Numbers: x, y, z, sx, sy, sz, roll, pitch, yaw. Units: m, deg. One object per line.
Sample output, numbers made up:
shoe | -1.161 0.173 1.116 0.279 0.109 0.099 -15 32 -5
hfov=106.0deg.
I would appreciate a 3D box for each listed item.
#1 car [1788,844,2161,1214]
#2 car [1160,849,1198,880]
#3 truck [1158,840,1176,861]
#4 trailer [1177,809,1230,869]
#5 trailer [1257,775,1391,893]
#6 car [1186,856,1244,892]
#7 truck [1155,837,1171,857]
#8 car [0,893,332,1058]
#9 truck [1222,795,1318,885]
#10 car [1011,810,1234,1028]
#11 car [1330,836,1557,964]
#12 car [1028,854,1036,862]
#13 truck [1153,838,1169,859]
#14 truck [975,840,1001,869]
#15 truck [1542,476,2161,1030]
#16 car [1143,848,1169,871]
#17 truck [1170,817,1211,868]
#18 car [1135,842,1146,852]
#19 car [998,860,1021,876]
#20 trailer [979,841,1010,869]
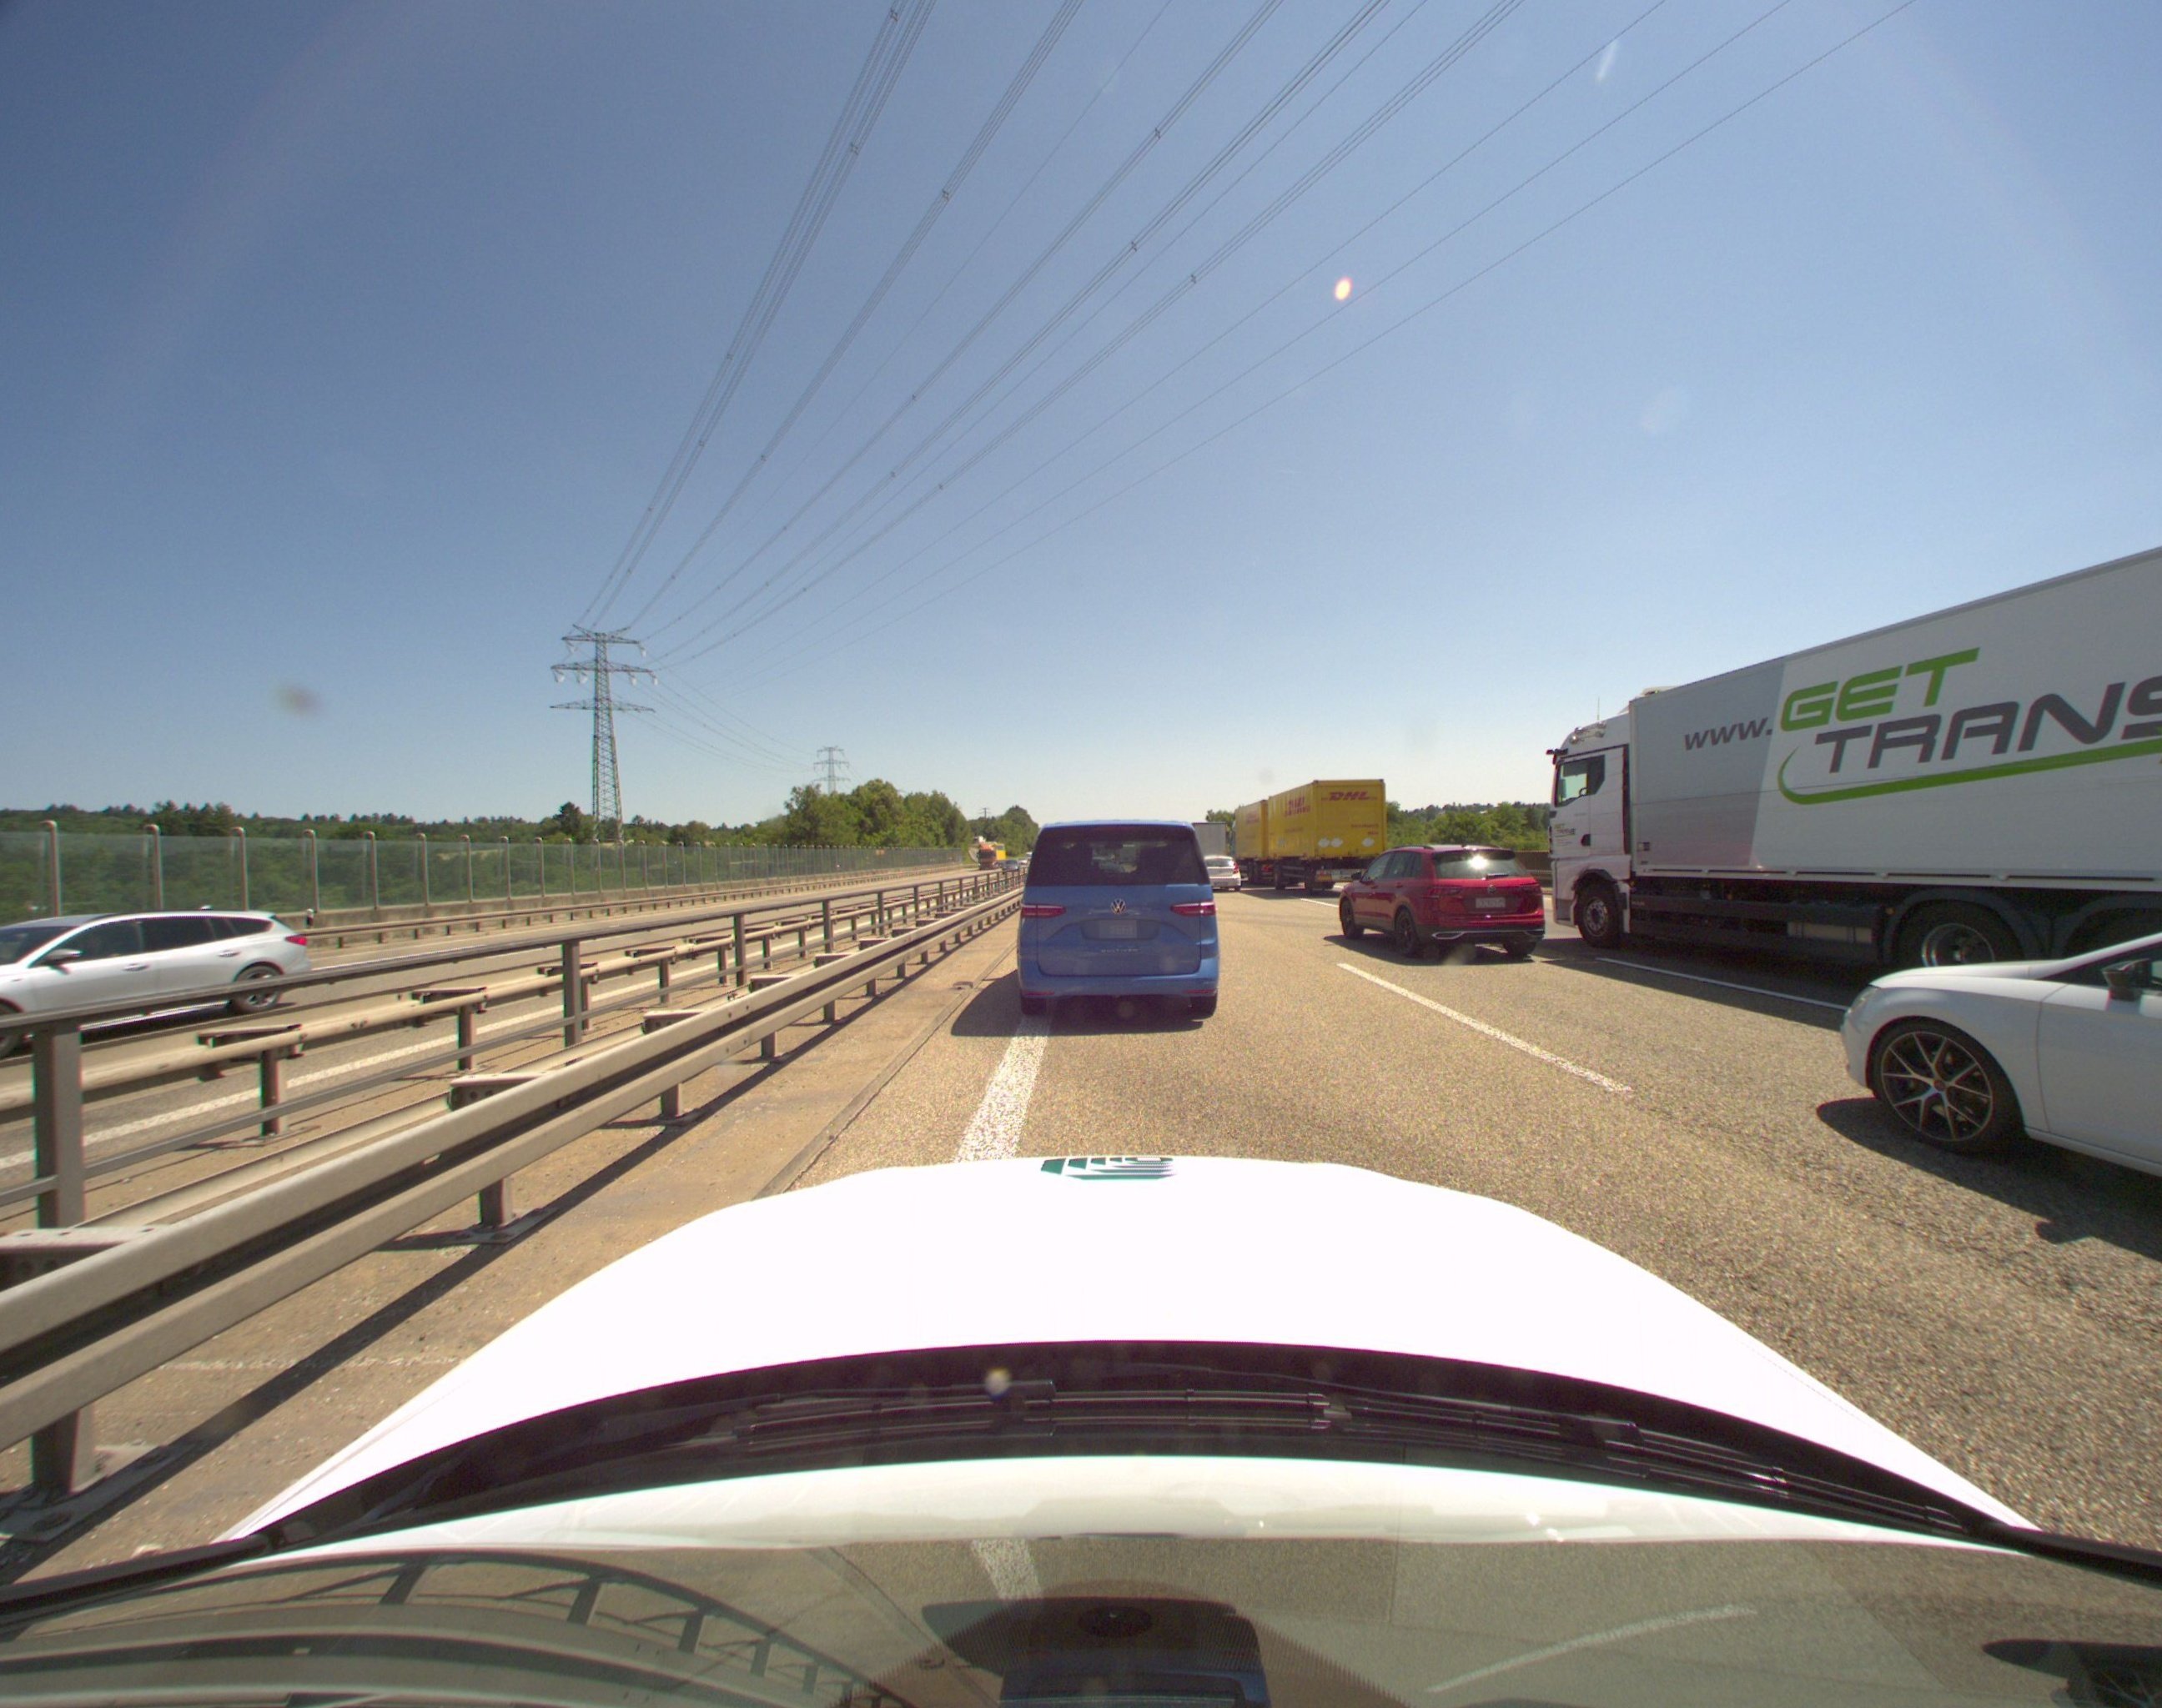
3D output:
car | 5.072 0.680 2.684 1.702 1.451 4.429 0 0 1
car | 5.581 0.617 46.686 1.808 1.679 3.934 0 -1 2
truck | 9.998 -0.386 94.749 1.791 2.449 4.505 0 -1 2
trailer | 10.025 -1.097 67.762 3.015 4.611 10.928 0 -1 2
trailer | 9.372 -0.639 32.654 2.674 4.088 8.978 0 -1 0
car | 5.621 0.826 34.686 1.809 1.470 3.931 0 -1 0
truck | 10.881 -0.952 108.759 1.790 2.596 4.306 0 -1 2
car | -12.050 1.381 9.729 1.986 1.544 4.387 -3 -1 2
truck | 9.499 -0.593 42.177 2.690 4.088 9.938 0 -1 0
car | 0.402 0.589 9.059 1.924 1.874 4.001 0 -1 1
car | 5.479 0.612 12.982 1.703 1.679 4.284 -1 0 0
car | -13.450 1.166 223.835 1.835 2.042 3.944 0 -1 1
truck | 10.185 -0.654 103.651 1.735 2.549 4.211 0 -1 2
truck | -14.047 0.065 123.078 2.660 4.185 6.292 -2 -1 3
truck | 9.141 -0.691 8.446 2.842 3.934 10.610 0 -1 1
car | 6.344 0.495 69.427 1.955 1.936 3.933 0 -1 1
truck | 10.321 -0.979 77.190 3.015 4.611 7.923 0 -1 2
car | 11.603 -1.372 159.875 1.986 2.014 4.001 0 -1 1
car | -7.347 1.447 83.759 1.755 1.508 4.225 -3 0 2
trailer | -13.654 0.207 129.726 2.617 4.114 14.026 -2 -1 3
